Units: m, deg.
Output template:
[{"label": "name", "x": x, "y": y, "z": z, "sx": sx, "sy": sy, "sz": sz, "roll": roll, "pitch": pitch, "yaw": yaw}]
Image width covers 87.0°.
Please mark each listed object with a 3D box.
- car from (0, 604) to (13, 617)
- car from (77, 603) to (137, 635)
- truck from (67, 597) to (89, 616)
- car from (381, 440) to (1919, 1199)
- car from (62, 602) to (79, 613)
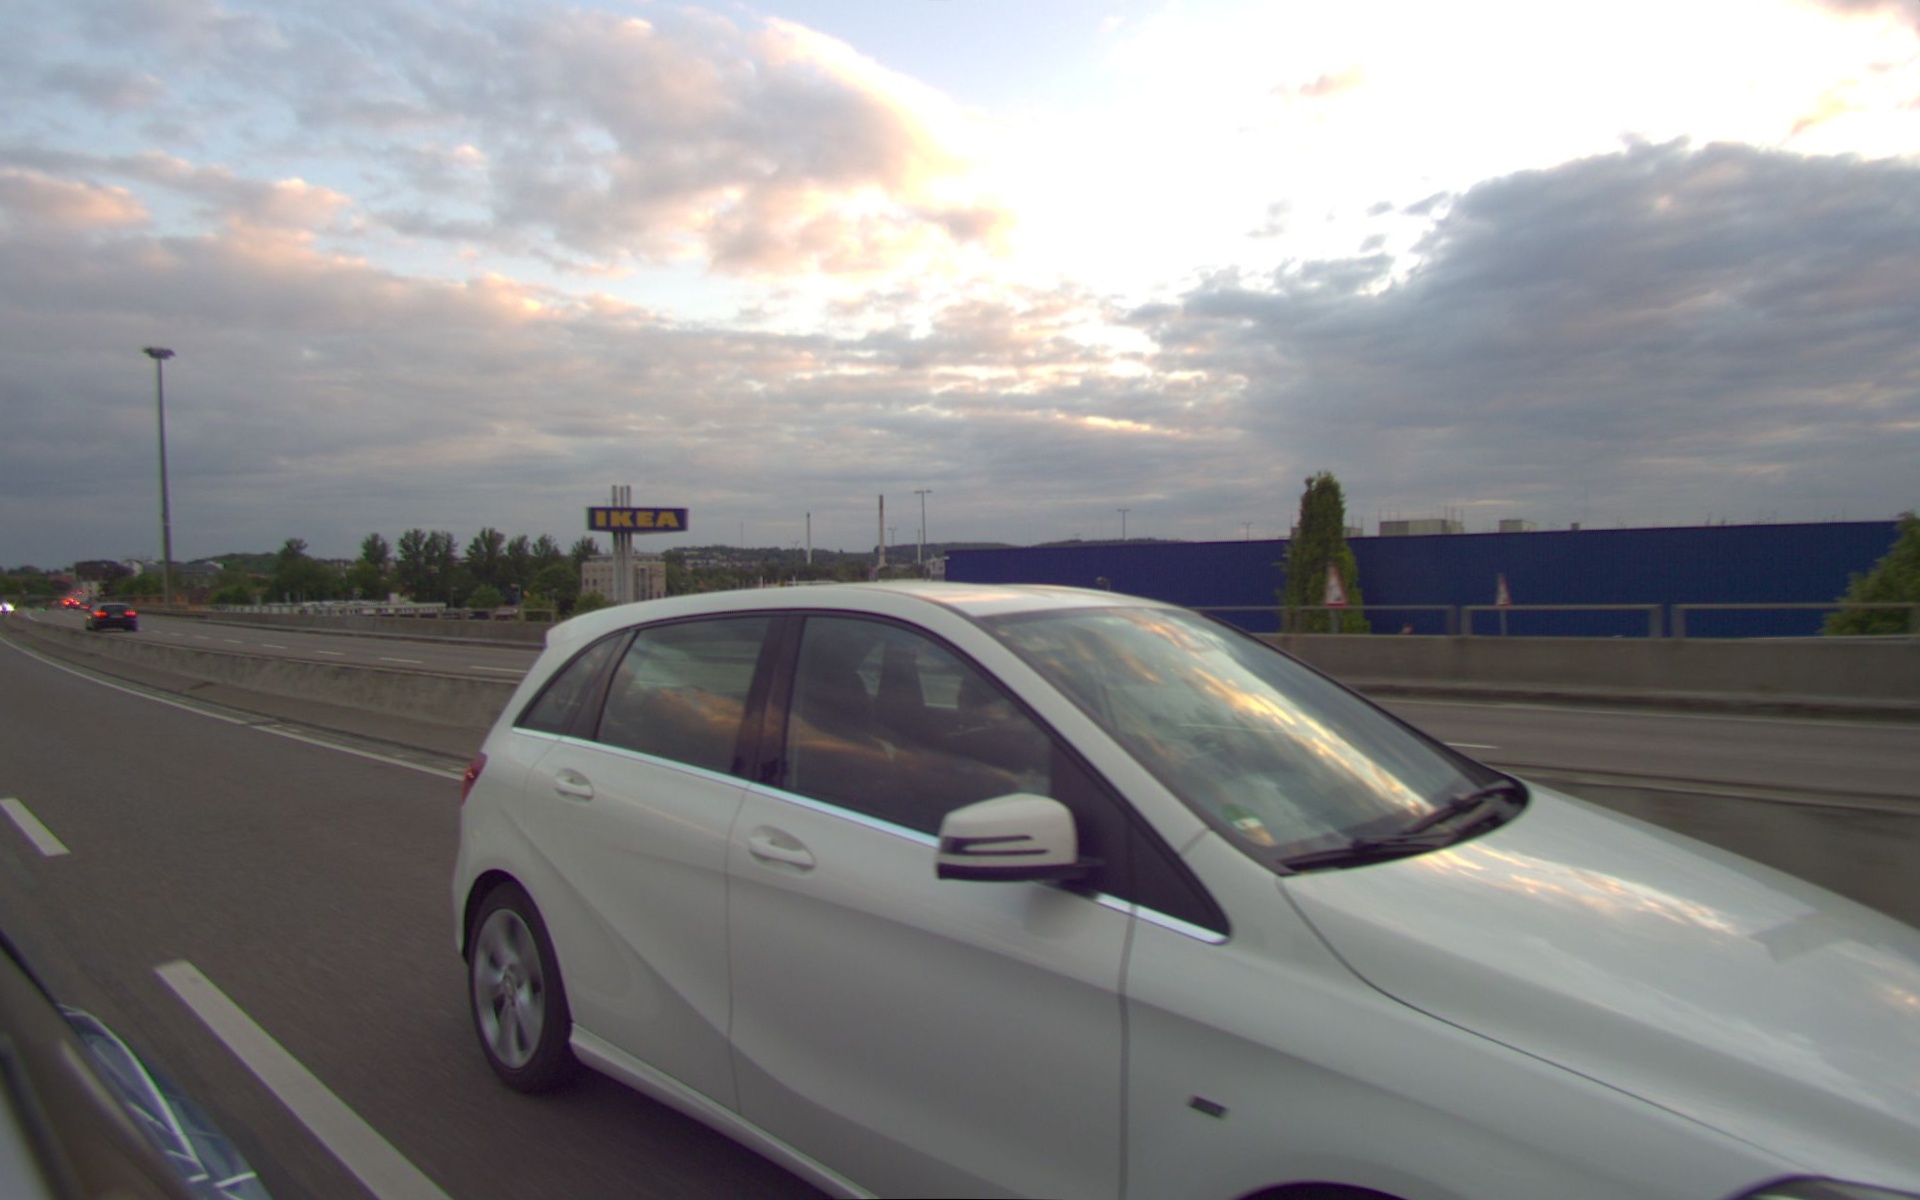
[{"label": "car", "x": -151.218, "y": 1.625, "z": 160.016, "sx": 1.969, "sy": 2.029, "sz": 4.006, "roll": 1, "pitch": -1, "yaw": -41}, {"label": "car", "x": -42.349, "y": 0.914, "z": 50.221, "sx": 4.287, "sy": 1.491, "sz": 1.809, "roll": 0, "pitch": 0, "yaw": 43}, {"label": "truck", "x": -154.234, "y": 1.116, "z": 177.008, "sx": 2.502, "sy": 3.321, "sz": 7.461, "roll": -1, "pitch": 0, "yaw": -38}, {"label": "car", "x": 0.296, "y": 0.647, "z": 2.648, "sx": 4.781, "sy": 1.548, "sz": 1.673, "roll": -2, "pitch": -1, "yaw": 41}, {"label": "car", "x": -139.642, "y": 1.203, "z": 158.917, "sx": 1.952, "sy": 1.618, "sz": 4.447, "roll": -1, "pitch": 0, "yaw": -41}]
